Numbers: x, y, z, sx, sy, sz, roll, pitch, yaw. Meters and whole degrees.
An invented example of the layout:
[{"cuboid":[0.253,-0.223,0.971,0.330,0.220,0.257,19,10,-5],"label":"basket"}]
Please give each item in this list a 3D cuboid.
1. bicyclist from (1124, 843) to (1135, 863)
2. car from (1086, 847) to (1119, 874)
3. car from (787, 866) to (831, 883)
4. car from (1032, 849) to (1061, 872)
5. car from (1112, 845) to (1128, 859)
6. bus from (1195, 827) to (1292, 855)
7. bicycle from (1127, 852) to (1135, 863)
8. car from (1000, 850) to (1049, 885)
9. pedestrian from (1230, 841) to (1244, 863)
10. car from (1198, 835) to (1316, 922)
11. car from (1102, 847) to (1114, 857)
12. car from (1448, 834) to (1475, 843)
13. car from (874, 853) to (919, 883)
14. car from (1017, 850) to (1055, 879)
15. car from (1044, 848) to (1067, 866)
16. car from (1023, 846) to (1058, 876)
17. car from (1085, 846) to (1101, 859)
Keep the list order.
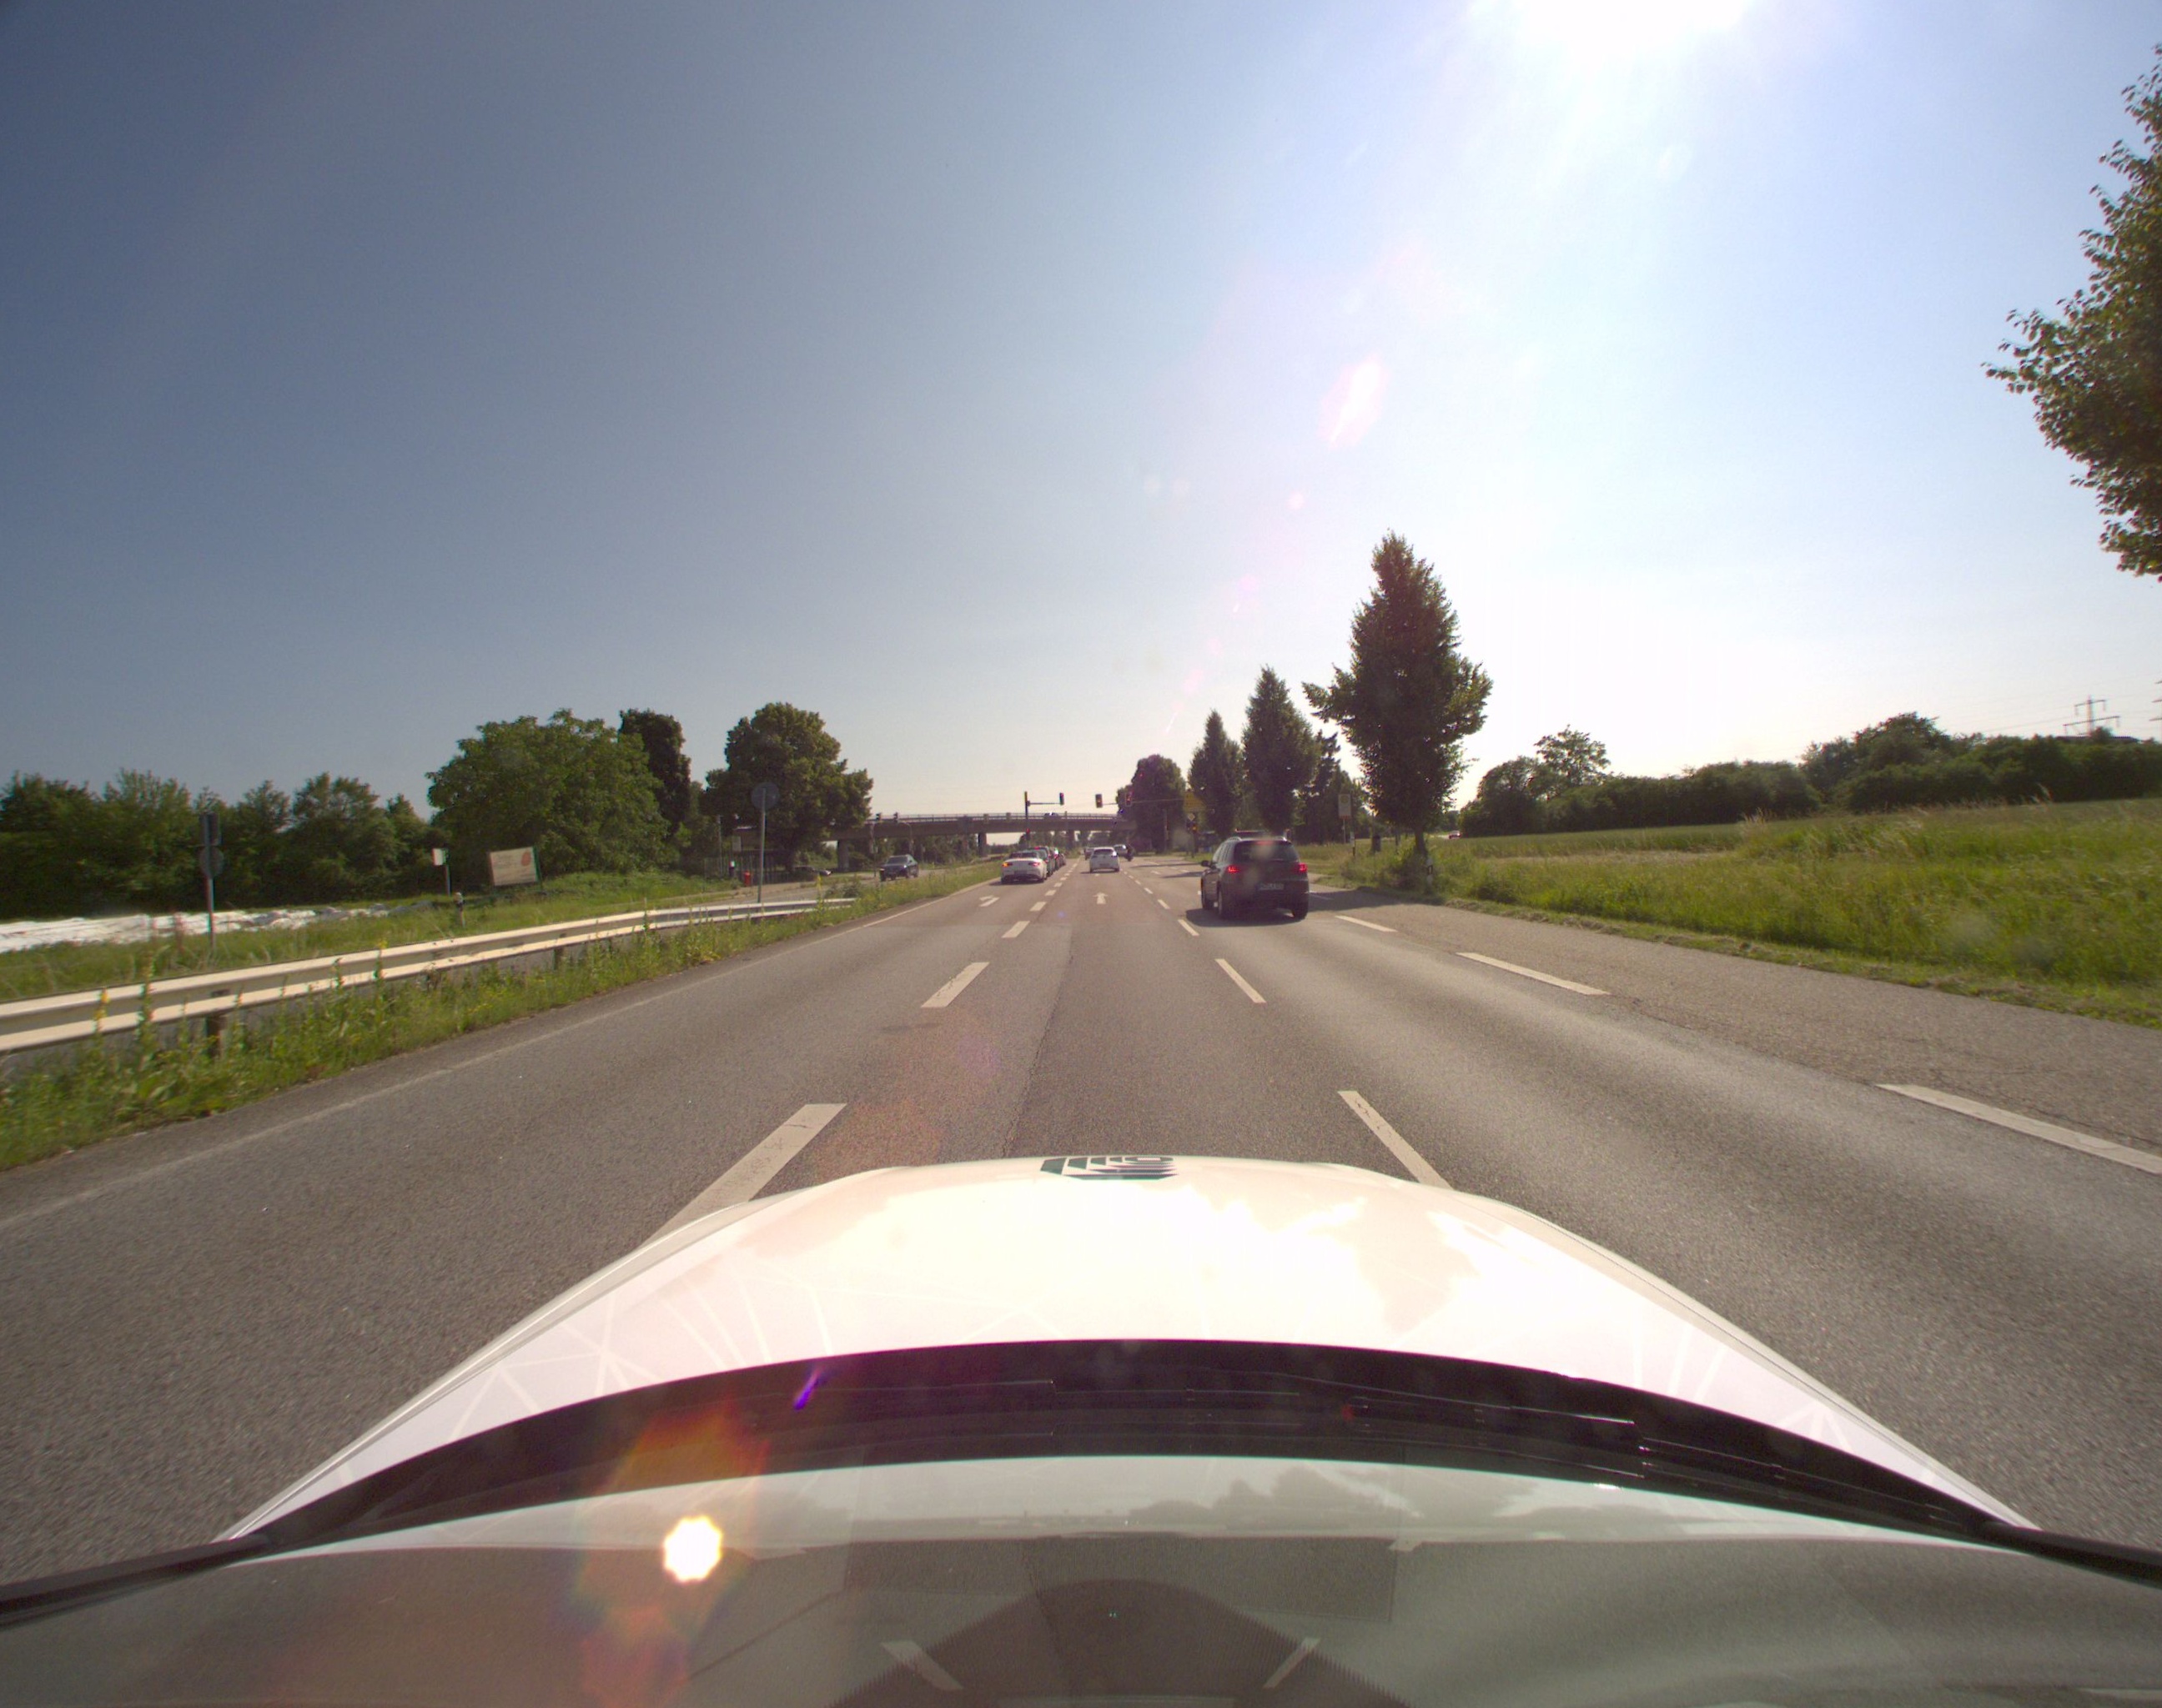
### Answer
[{"cuboid":[4.672,-0.120,78.876,1.003,1.886,1.327,-2,0,1],"label":"bicyclist"},{"cuboid":[1.288,0.359,47.788,1.844,1.460,4.002,-1,0,2],"label":"car"},{"cuboid":[-27.297,2.003,81.724,4.127,1.424,1.859,-3,0,-20],"label":"car"},{"cuboid":[-2.305,0.401,55.590,1.660,1.474,4.099,-2,1,1],"label":"car"},{"cuboid":[4.790,-0.220,100.156,1.867,1.640,4.002,-1,0,2],"label":"car"},{"cuboid":[20.684,-1.646,103.584,11.959,2.877,2.927,-3,0,-15],"label":"bus"},{"cuboid":[4.788,0.335,78.568,0.598,0.983,2.361,-2,0,1],"label":"bicycle"},{"cuboid":[-2.474,0.565,36.700,1.797,1.425,4.642,-2,0,0],"label":"car"},{"cuboid":[13.501,-0.202,70.561,0.899,1.839,1.194,-3,0,-2],"label":"pedestrian"},{"cuboid":[3.719,0.471,17.943,1.749,1.655,4.147,-1,0,1],"label":"car"},{"cuboid":[4.526,-0.270,138.459,1.987,1.631,4.000,0,-1,0],"label":"car"},{"cuboid":[62.622,-2.522,134.055,4.002,1.398,1.669,-3,0,-21],"label":"car"},{"cuboid":[-13.009,0.962,57.758,1.987,1.840,4.953,-5,1,0],"label":"car"},{"cuboid":[-2.344,0.515,43.689,1.708,1.410,4.356,-1,1,1],"label":"car"},{"cuboid":[-2.151,0.236,68.767,1.668,1.335,4.099,-2,1,1],"label":"car"},{"cuboid":[-2.439,0.366,49.865,1.735,1.672,4.357,-3,1,1],"label":"car"},{"cuboid":[1.455,-0.178,96.695,1.867,1.492,4.002,-2,0,2],"label":"car"}]
